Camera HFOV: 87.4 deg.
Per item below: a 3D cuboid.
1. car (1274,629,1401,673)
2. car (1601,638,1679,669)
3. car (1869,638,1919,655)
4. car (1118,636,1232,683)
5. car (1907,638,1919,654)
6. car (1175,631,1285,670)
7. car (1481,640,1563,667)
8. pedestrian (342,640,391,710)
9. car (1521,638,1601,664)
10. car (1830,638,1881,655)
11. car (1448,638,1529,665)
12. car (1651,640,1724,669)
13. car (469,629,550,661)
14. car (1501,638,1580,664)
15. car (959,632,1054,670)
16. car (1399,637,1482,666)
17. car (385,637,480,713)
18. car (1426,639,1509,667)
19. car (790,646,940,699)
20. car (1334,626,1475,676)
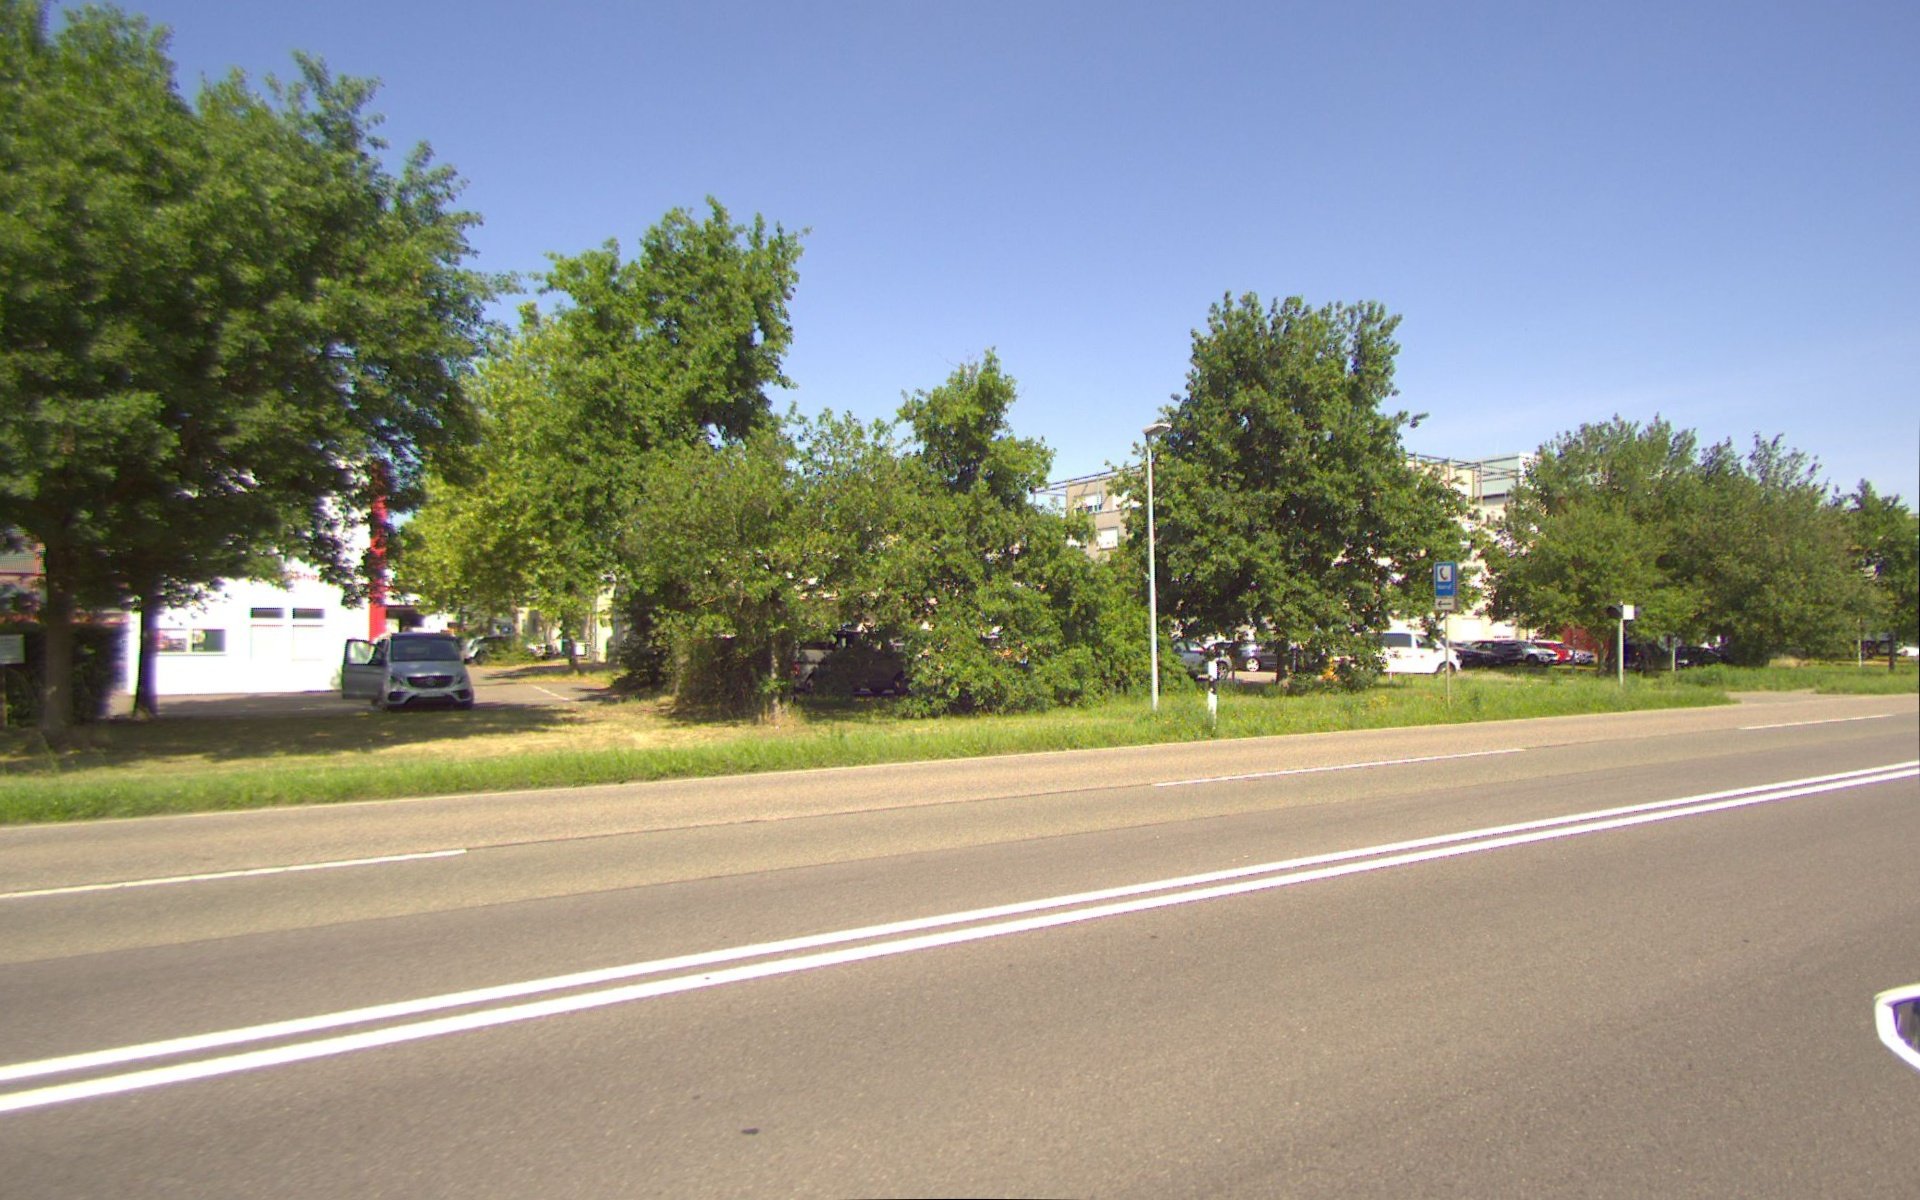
[{"bbox_3d":[16.764,2.249,44.787,4.916,1.830,2.074,1,-1,0],"label":"car"},{"bbox_3d":[36.605,2.859,54.067,4.496,1.599,1.735,1,-2,-31],"label":"car"},{"bbox_3d":[83.079,4.144,89.241,4.894,1.456,1.985,1,-2,-29],"label":"car"},{"bbox_3d":[8.241,2.244,38.452,4.145,1.673,1.919,1,-2,-32],"label":"car"},{"bbox_3d":[91.345,4.297,94.625,4.556,1.456,1.984,1,-2,-31],"label":"car"},{"bbox_3d":[13.252,2.464,49.517,4.916,1.830,2.074,1,-1,0],"label":"car"},{"bbox_3d":[34.189,3.212,61.199,1.866,1.557,3.967,1,-2,-31],"label":"car"},{"bbox_3d":[-14.834,1.859,25.112,0.802,1.735,0.638,0,-1,9],"label":"pedestrian"},{"bbox_3d":[38.445,3.225,64.318,1.722,1.606,4.115,1,-2,-31],"label":"car"},{"bbox_3d":[81.303,4.207,91.200,4.894,1.456,1.985,1,-2,-29],"label":"car"},{"bbox_3d":[31.825,3.068,60.581,1.866,1.557,3.967,1,-2,-31],"label":"car"},{"bbox_3d":[41.238,3.053,56.918,4.496,1.599,1.735,1,-2,-31],"label":"car"},{"bbox_3d":[-25.986,2.619,58.036,3.932,1.684,1.994,1,1,-14],"label":"car"},{"bbox_3d":[36.449,3.158,63.181,1.722,1.557,3.967,1,-2,-31],"label":"car"},{"bbox_3d":[2.185,2.353,46.978,4.120,1.680,1.847,1,-2,-31],"label":"car"},{"bbox_3d":[27.524,2.944,57.644,1.866,1.557,3.967,1,-2,-31],"label":"car"},{"bbox_3d":[-13.482,1.873,25.565,1.977,1.753,4.204,1,-4,-30],"label":"car"},{"bbox_3d":[29.686,3.058,58.840,1.866,1.557,3.967,1,-2,-31],"label":"car"},{"bbox_3d":[-2.689,2.010,28.588,3.953,1.368,1.664,1,-2,-31],"label":"car"},{"bbox_3d":[18.313,2.099,41.537,4.916,1.954,2.074,1,-1,0],"label":"car"}]
